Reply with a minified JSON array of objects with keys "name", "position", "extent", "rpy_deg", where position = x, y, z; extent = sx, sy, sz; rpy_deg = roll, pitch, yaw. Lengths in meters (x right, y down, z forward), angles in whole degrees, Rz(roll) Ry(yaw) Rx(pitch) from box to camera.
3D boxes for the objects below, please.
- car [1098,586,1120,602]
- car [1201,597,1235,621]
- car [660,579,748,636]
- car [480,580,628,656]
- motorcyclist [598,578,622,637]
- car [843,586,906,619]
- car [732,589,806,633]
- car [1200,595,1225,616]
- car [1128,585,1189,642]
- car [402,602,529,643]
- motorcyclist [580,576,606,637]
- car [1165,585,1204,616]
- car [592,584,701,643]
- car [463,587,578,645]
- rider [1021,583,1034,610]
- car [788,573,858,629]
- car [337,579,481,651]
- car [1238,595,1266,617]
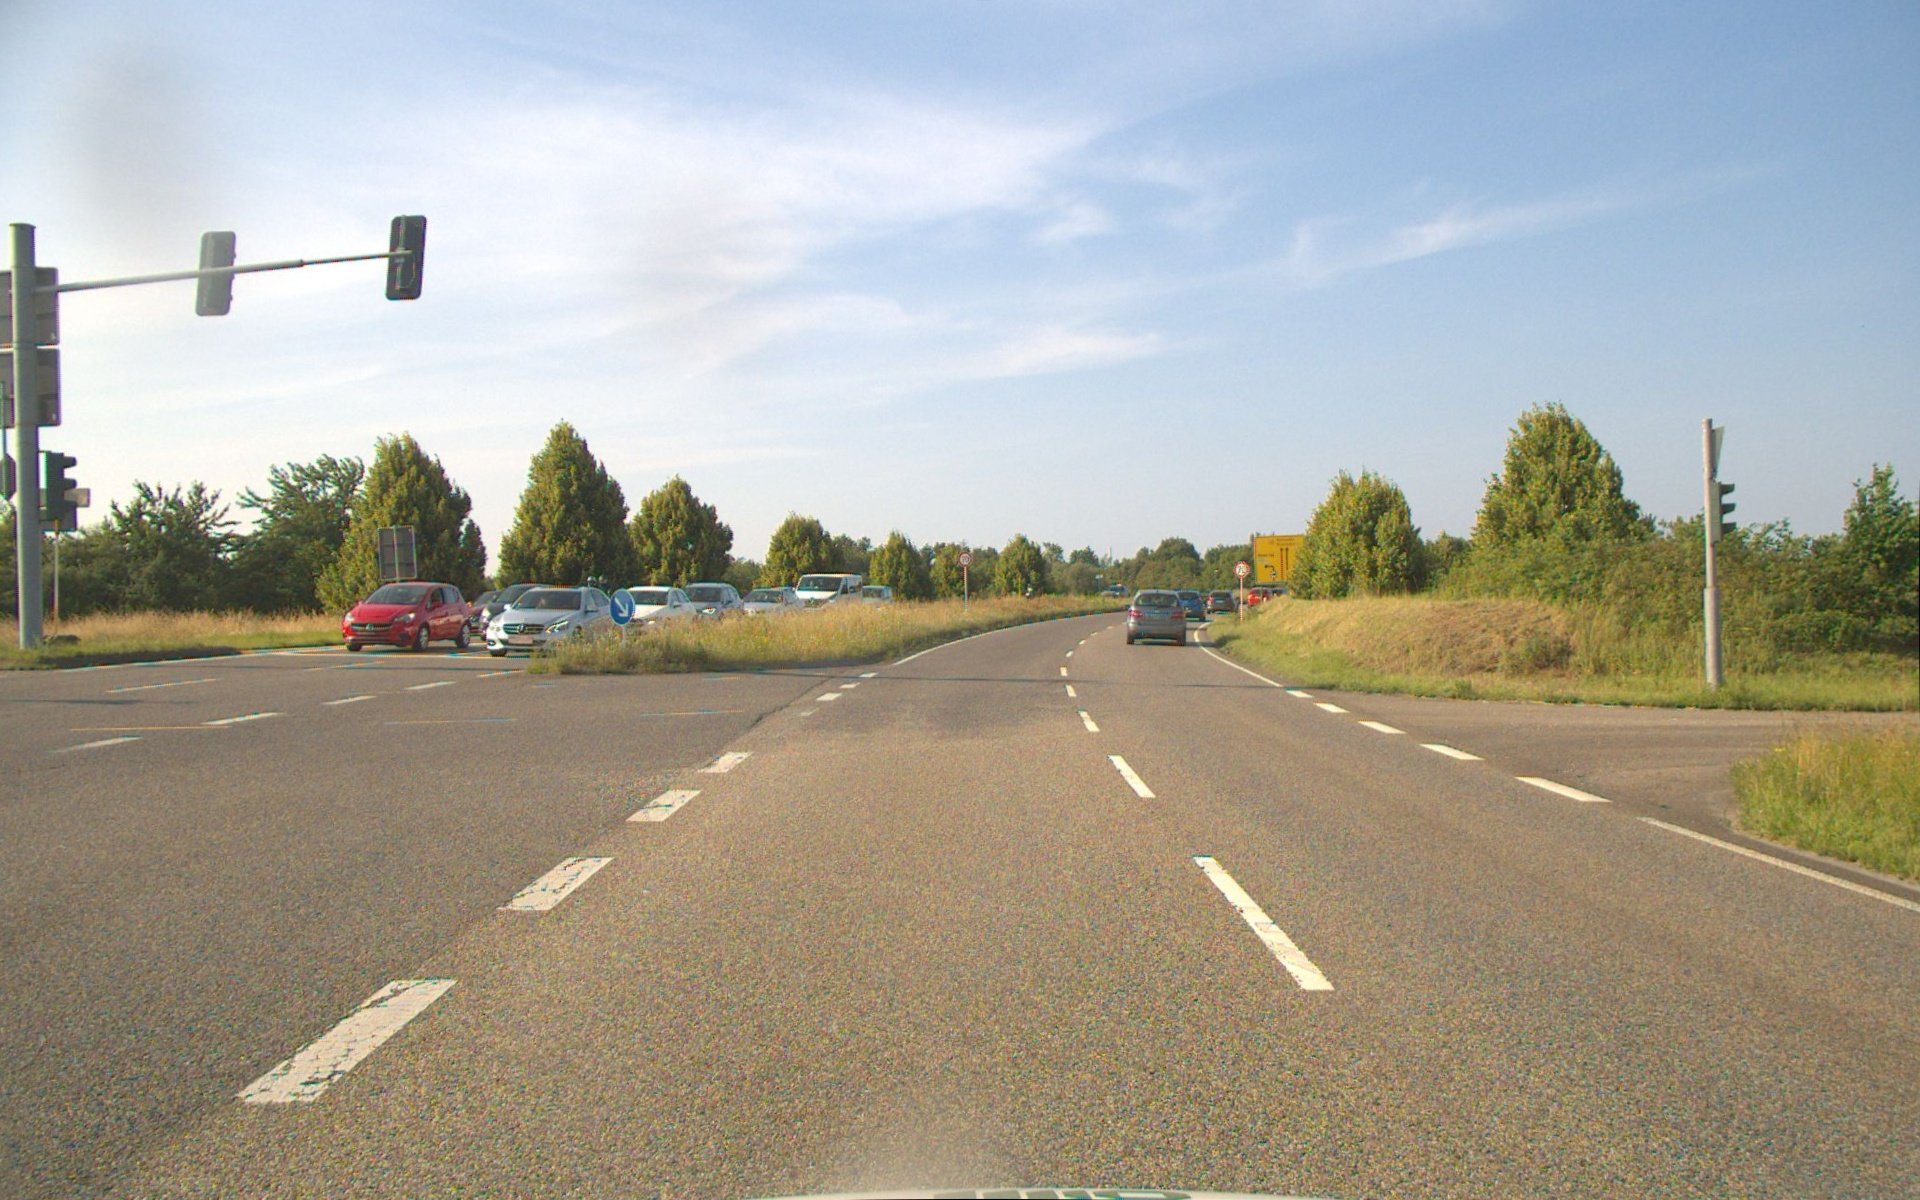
[{"name":"car","position":[13.336,-0.512,147.707],"extent":[1.375,1.426,3.424],"rpy_deg":[-1,0,16]},{"name":"car","position":[16.064,0.574,102.890],"extent":[1.874,1.440,3.798],"rpy_deg":[0,-1,12]},{"name":"car","position":[-7.586,0.205,49.320],"extent":[1.748,1.596,4.053],"rpy_deg":[-1,0,3]},{"name":"car","position":[-8.577,0.352,35.365],"extent":[1.748,1.514,4.653],"rpy_deg":[-1,0,4]},{"name":"motorcyclist","position":[-11.001,0.243,52.035],"extent":[0.649,1.849,0.605],"rpy_deg":[0,0,-4]},{"name":"car","position":[-3.767,0.111,73.453],"extent":[1.748,1.410,4.055],"rpy_deg":[-1,0,13]},{"name":"car","position":[-6.368,0.360,55.489],"extent":[1.748,1.410,4.053],"rpy_deg":[-1,0,3]},{"name":"car","position":[18.546,0.378,121.301],"extent":[1.735,1.518,3.988],"rpy_deg":[0,0,10]},{"name":"car","position":[5.994,0.419,49.679],"extent":[1.746,1.633,4.199],"rpy_deg":[0,-1,8]},{"name":"car","position":[-14.138,0.620,47.567],"extent":[1.951,1.121,4.480],"rpy_deg":[0,0,5]},{"name":"motorcyclist","position":[-10.905,0.186,49.117],"extent":[0.649,1.778,0.605],"rpy_deg":[0,0,-4]},{"name":"car","position":[11.223,0.019,82.508],"extent":[1.735,1.518,3.988],"rpy_deg":[0,0,10]},{"name":"car","position":[-8.085,0.324,43.003],"extent":[1.748,1.458,4.311],"rpy_deg":[-1,0,3]},{"name":"car","position":[-11.565,0.406,43.809],"extent":[1.748,1.458,4.053],"rpy_deg":[-1,0,3]},{"name":"rider","position":[5.156,-0.248,126.921],"extent":[0.849,2.049,0.772],"rpy_deg":[0,0,15]},{"name":"car","position":[-5.343,0.044,64.908],"extent":[1.884,2.114,4.246],"rpy_deg":[-1,0,7]},{"name":"car","position":[-12.202,0.315,36.868],"extent":[1.684,1.514,3.806],"rpy_deg":[-1,0,4]},{"name":"car","position":[22.192,0.433,125.531],"extent":[1.855,1.592,4.281],"rpy_deg":[0,-1,13]}]
